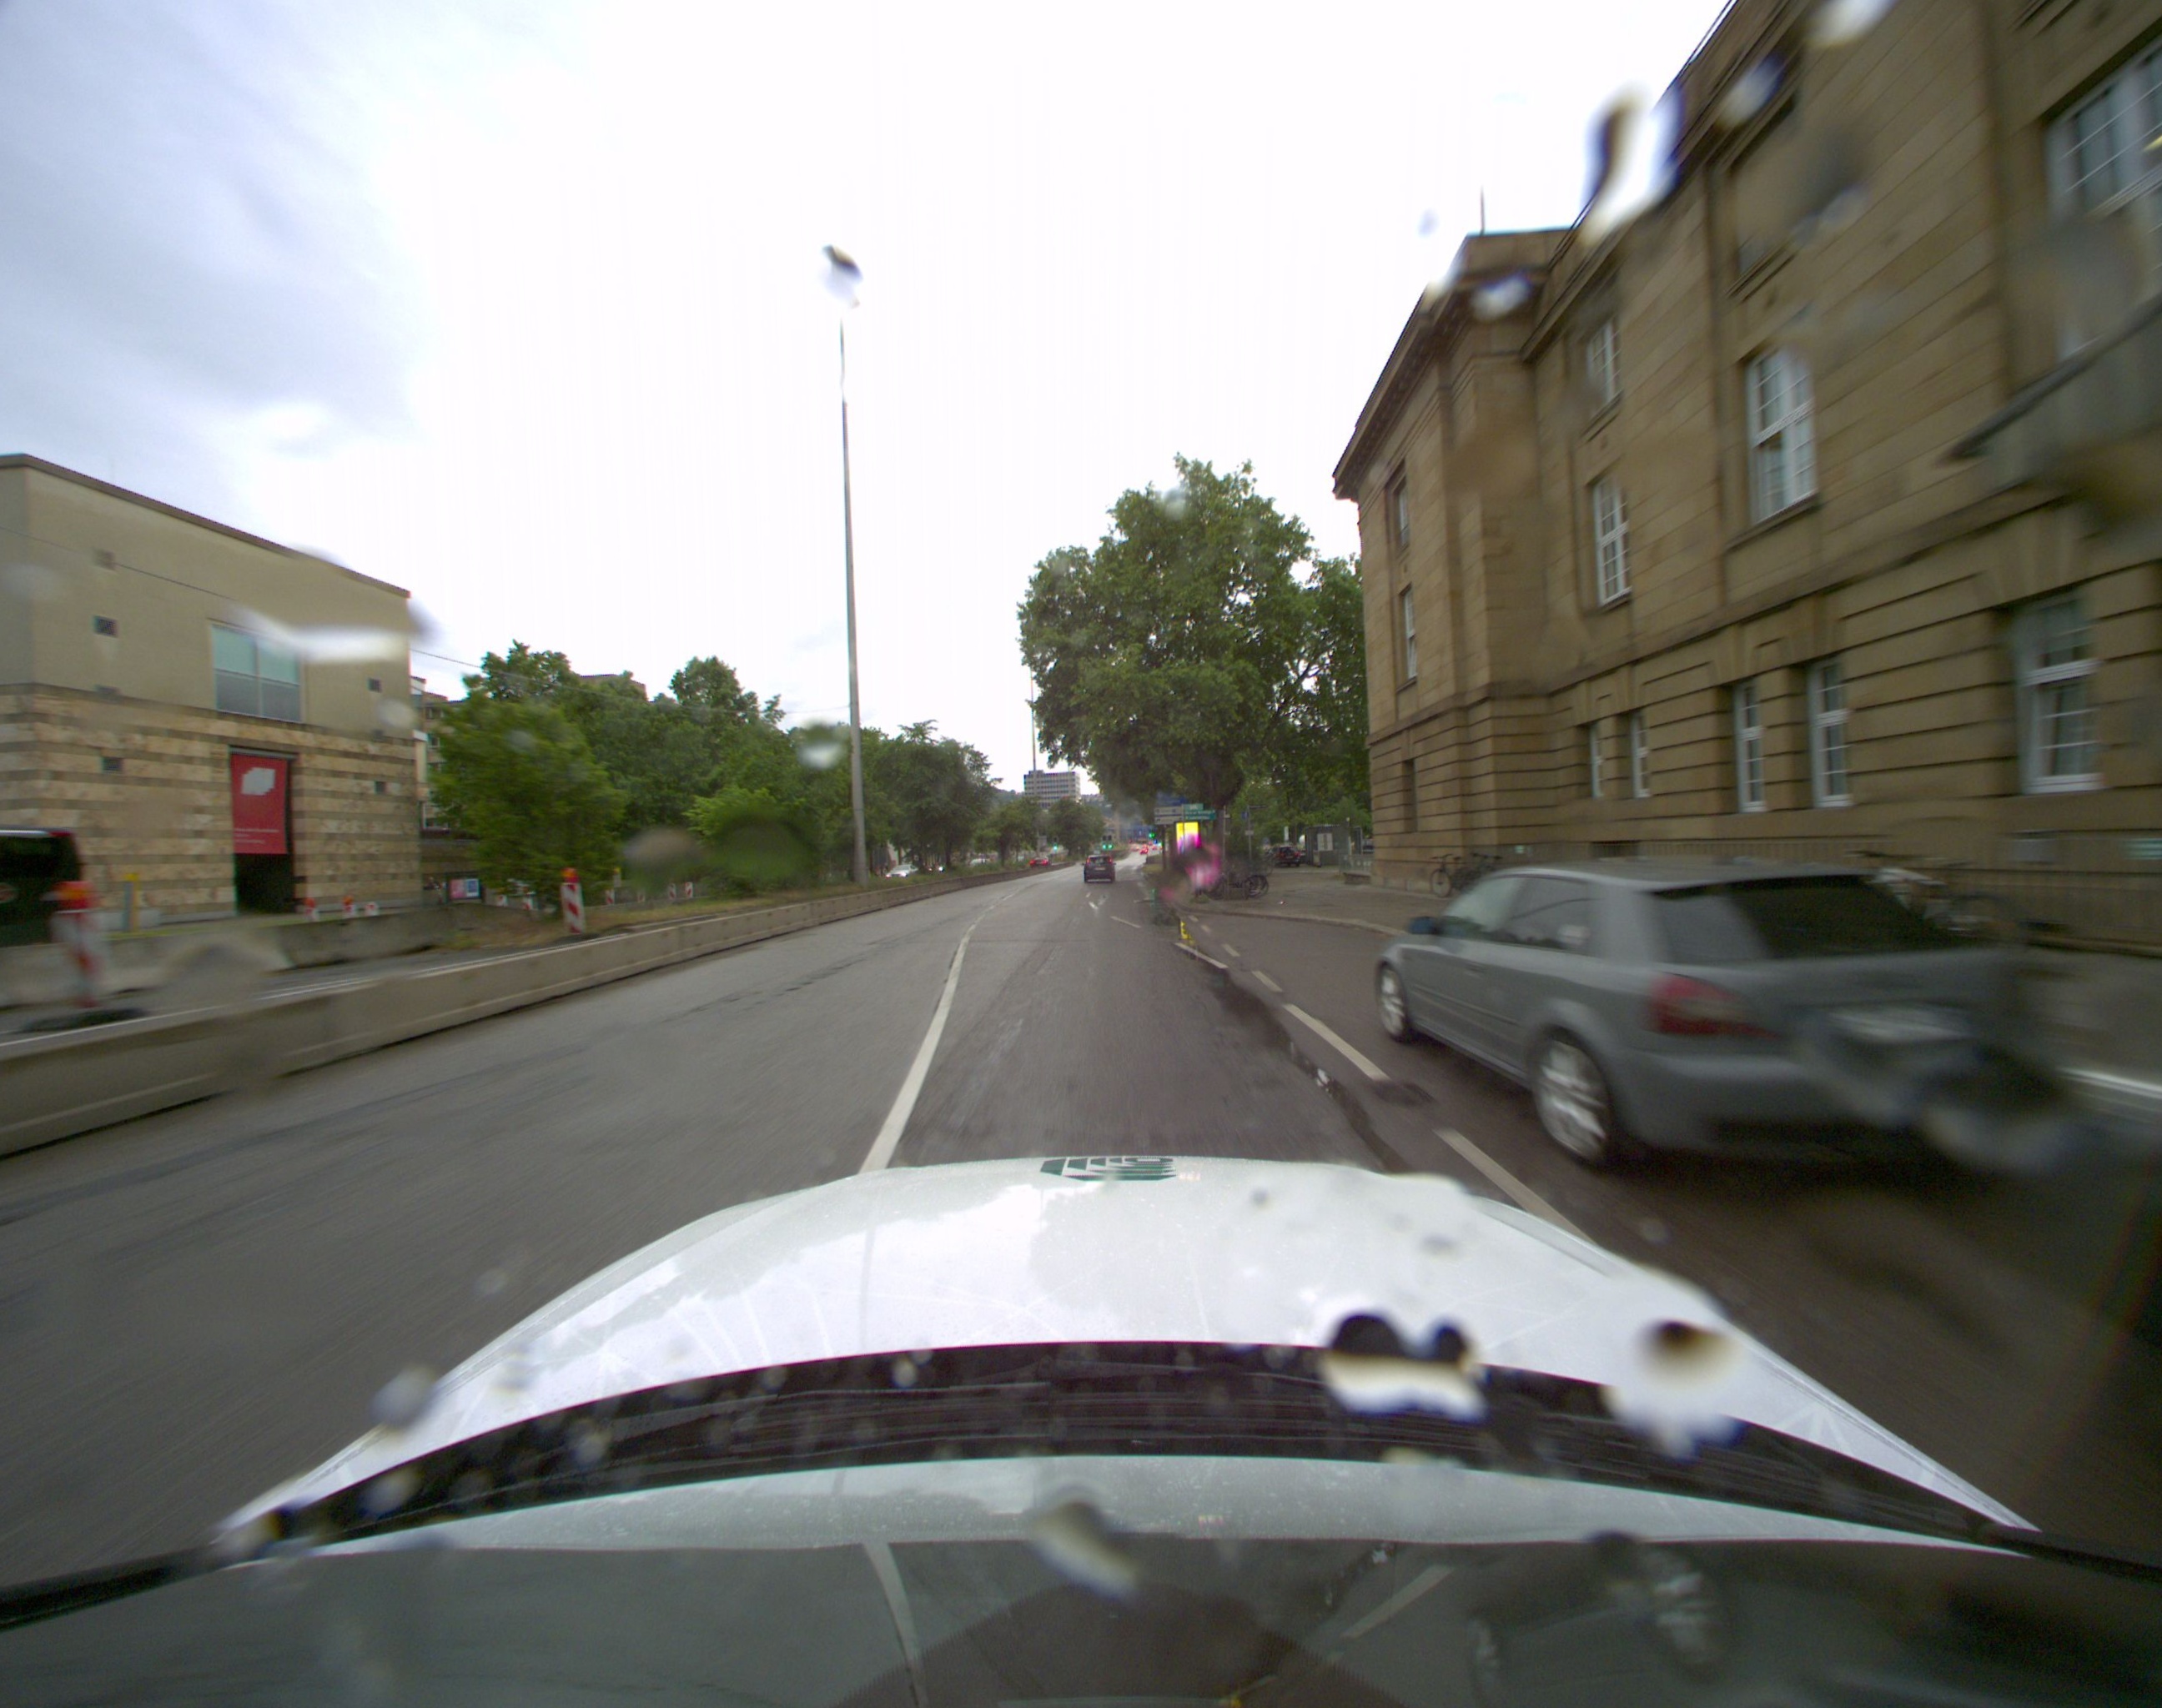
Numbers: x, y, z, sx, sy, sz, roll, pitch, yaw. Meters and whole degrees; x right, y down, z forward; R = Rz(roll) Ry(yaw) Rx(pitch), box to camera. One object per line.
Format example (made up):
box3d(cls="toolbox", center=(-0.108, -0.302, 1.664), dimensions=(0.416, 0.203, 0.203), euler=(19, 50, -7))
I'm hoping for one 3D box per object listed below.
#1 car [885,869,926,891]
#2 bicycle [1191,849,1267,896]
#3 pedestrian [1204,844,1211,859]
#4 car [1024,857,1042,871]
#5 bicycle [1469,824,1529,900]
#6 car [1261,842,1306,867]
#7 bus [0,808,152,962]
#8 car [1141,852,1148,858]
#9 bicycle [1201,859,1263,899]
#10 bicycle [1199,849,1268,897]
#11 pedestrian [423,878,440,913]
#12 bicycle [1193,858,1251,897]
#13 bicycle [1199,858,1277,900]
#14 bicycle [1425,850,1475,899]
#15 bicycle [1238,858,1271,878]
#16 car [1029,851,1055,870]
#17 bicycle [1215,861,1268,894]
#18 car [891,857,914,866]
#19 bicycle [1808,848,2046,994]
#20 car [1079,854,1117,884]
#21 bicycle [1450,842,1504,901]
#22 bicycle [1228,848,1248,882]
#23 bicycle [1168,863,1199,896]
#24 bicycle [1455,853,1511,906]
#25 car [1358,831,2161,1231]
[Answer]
box3d(cls="car", center=(-14.744, 2.156, 68.718), dimensions=(1.984, 1.625, 4.814), euler=(-4, -1, 5))
box3d(cls="bicycle", center=(4.504, 0.551, 24.864), dimensions=(2.180, 1.336, 0.651), euler=(-2, -1, 4))
box3d(cls="pedestrian", center=(14.614, -0.313, 94.012), dimensions=(0.702, 1.718, 0.693), euler=(-4, 0, 5))
box3d(cls="car", center=(-5.089, 1.055, 86.906), dimensions=(1.749, 1.452, 3.997), euler=(-1, -1, -1))
box3d(cls="bicycle", center=(8.755, 0.157, 17.113), dimensions=(0.452, 1.515, 1.600), euler=(-1, 0, 1))
box3d(cls="car", center=(14.164, 0.017, 57.276), dimensions=(1.986, 1.609, 5.239), euler=(-2, 1, 2))
box3d(cls="bus", center=(-28.598, 0.785, 15.983), dimensions=(2.789, 3.811, 14.623), euler=(-1, 0, 6))
box3d(cls="car", center=(18.260, 0.268, 233.990), dimensions=(1.730, 1.771, 4.006), euler=(-4, -1, 5))
box3d(cls="bicycle", center=(4.414, 0.723, 23.878), dimensions=(1.671, 1.090, 0.651), euler=(-2, -1, 4))
box3d(cls="bicycle", center=(4.527, 0.567, 24.269), dimensions=(1.897, 1.332, 0.651), euler=(-2, -1, 4))
box3d(cls="pedestrian", center=(-37.921, 2.427, 47.580), dimensions=(0.476, 2.014, 0.512), euler=(-4, -1, 3))
box3d(cls="bicycle", center=(4.350, 0.714, 25.189), dimensions=(1.671, 1.122, 0.602), euler=(-2, 0, 4))
box3d(cls="bicycle", center=(4.314, 0.681, 22.432), dimensions=(1.979, 1.060, 0.759), euler=(-2, -1, -1))
box3d(cls="bicycle", center=(8.639, 0.477, 19.134), dimensions=(0.351, 1.080, 1.790), euler=(-4, -1, 2))
box3d(cls="bicycle", center=(9.017, 0.737, 42.389), dimensions=(1.632, 1.020, 0.576), euler=(0, -1, 7))
box3d(cls="car", center=(-3.924, 0.662, 83.252), dimensions=(1.984, 1.781, 4.006), euler=(-3, 0, 6))
box3d(cls="bicycle", center=(5.092, 0.746, 25.896), dimensions=(1.582, 0.994, 0.525), euler=(-2, -1, 4))
box3d(cls="car", center=(-35.144, 1.503, 160.818), dimensions=(3.972, 1.596, 2.001), euler=(-3, 0, 2))
box3d(cls="bicycle", center=(7.890, 0.578, 7.717), dimensions=(0.462, 1.215, 1.692), euler=(-2, -1, 1))
box3d(cls="car", center=(0.882, 0.794, 43.758), dimensions=(1.839, 1.416, 3.837), euler=(-4, -1, -1))
box3d(cls="bicycle", center=(8.841, 0.379, 18.247), dimensions=(0.452, 1.251, 1.600), euler=(-1, 0, 1))
box3d(cls="bicycle", center=(5.875, 0.397, 30.493), dimensions=(0.601, 1.197, 1.910), euler=(-4, -1, 10))
box3d(cls="bicycle", center=(3.309, 0.805, 26.208), dimensions=(0.664, 0.967, 1.645), euler=(-2, -1, 18))
box3d(cls="bicycle", center=(8.608, 0.532, 17.514), dimensions=(0.351, 1.080, 1.790), euler=(-1, -1, 2))
box3d(cls="car", center=(3.227, 0.709, 4.987), dimensions=(1.923, 1.478, 3.705), euler=(-2, -1, 3))
